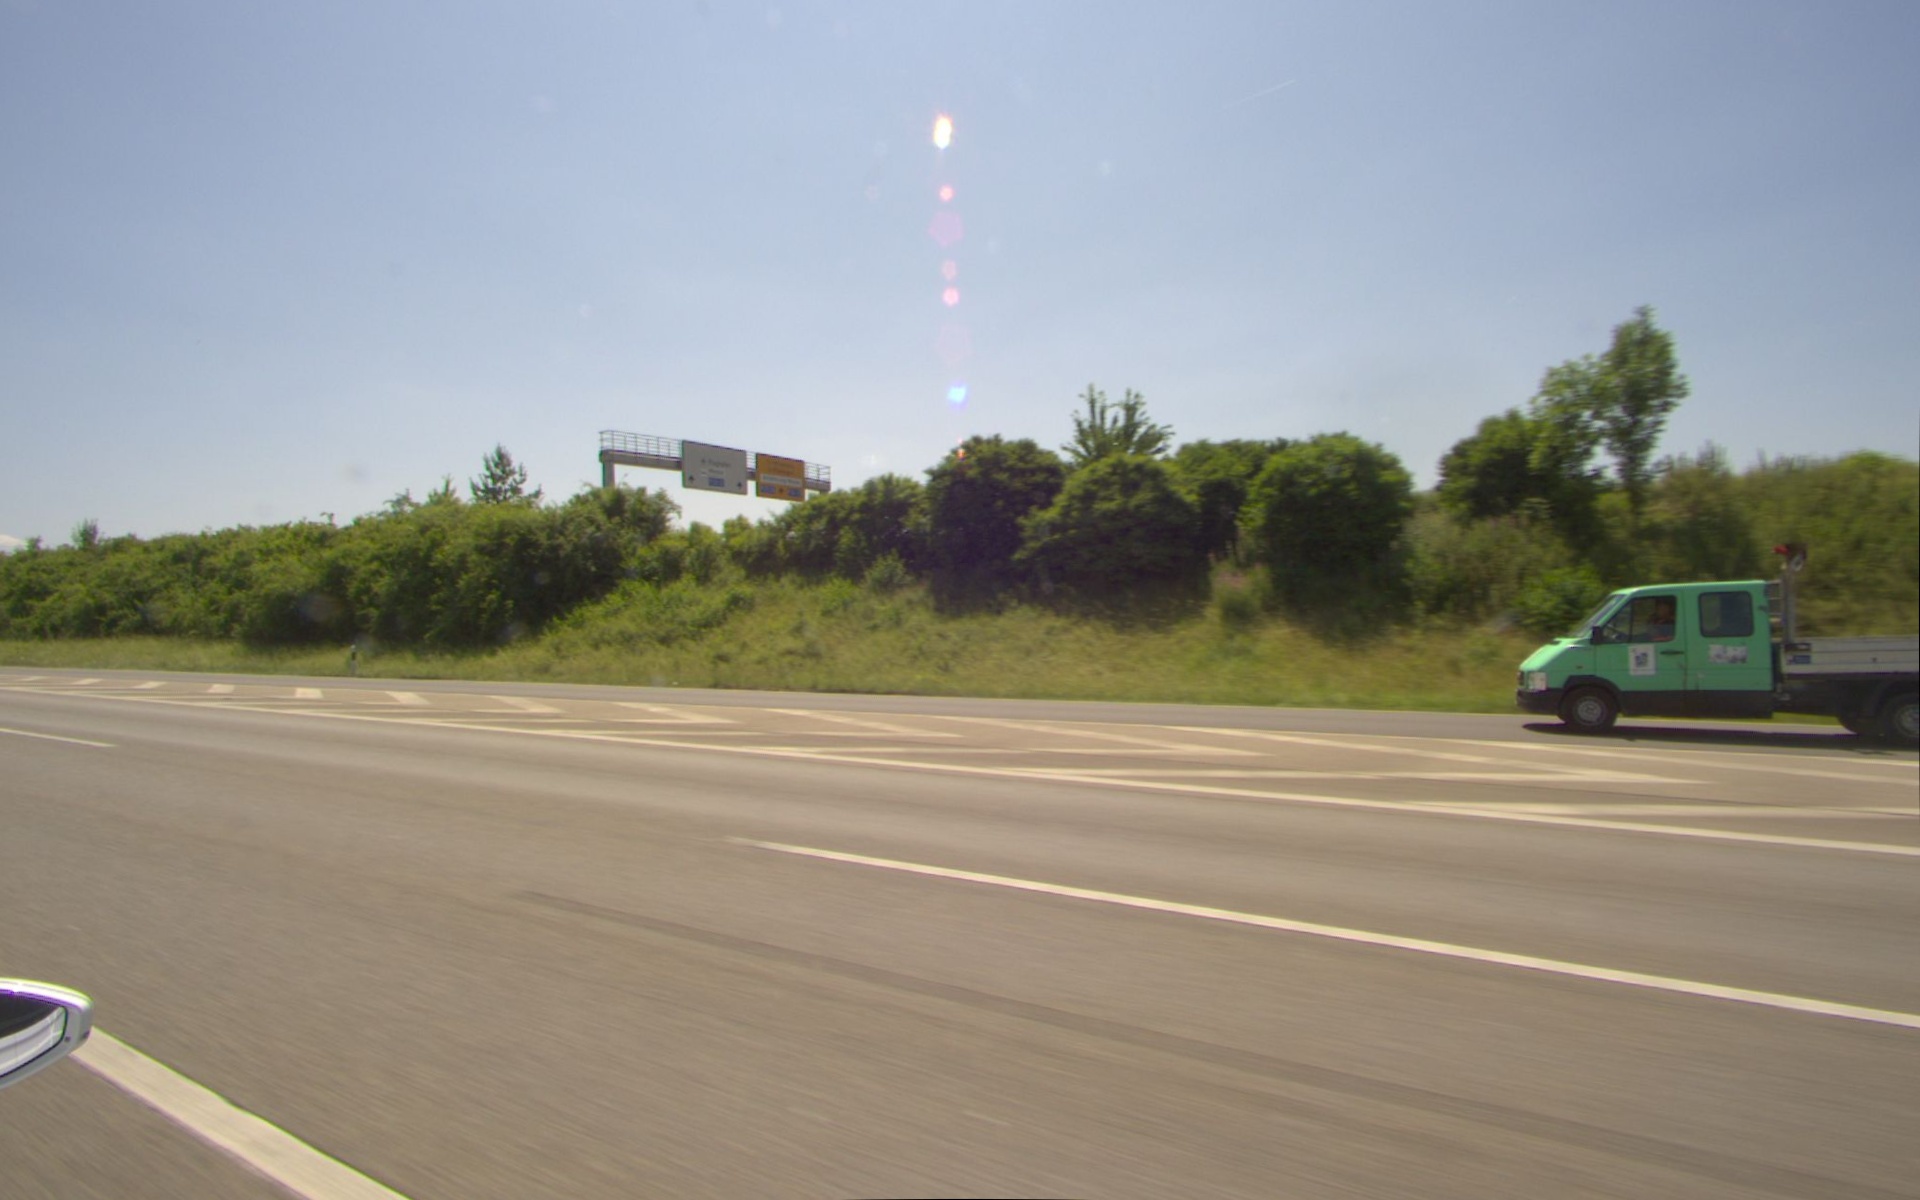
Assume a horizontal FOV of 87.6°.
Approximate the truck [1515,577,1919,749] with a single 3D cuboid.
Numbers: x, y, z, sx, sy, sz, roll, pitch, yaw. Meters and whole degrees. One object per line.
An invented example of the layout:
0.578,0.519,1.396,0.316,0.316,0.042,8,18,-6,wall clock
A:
11.218,0.820,13.937,6.024,2.119,2.163,-1,-1,28,truck
